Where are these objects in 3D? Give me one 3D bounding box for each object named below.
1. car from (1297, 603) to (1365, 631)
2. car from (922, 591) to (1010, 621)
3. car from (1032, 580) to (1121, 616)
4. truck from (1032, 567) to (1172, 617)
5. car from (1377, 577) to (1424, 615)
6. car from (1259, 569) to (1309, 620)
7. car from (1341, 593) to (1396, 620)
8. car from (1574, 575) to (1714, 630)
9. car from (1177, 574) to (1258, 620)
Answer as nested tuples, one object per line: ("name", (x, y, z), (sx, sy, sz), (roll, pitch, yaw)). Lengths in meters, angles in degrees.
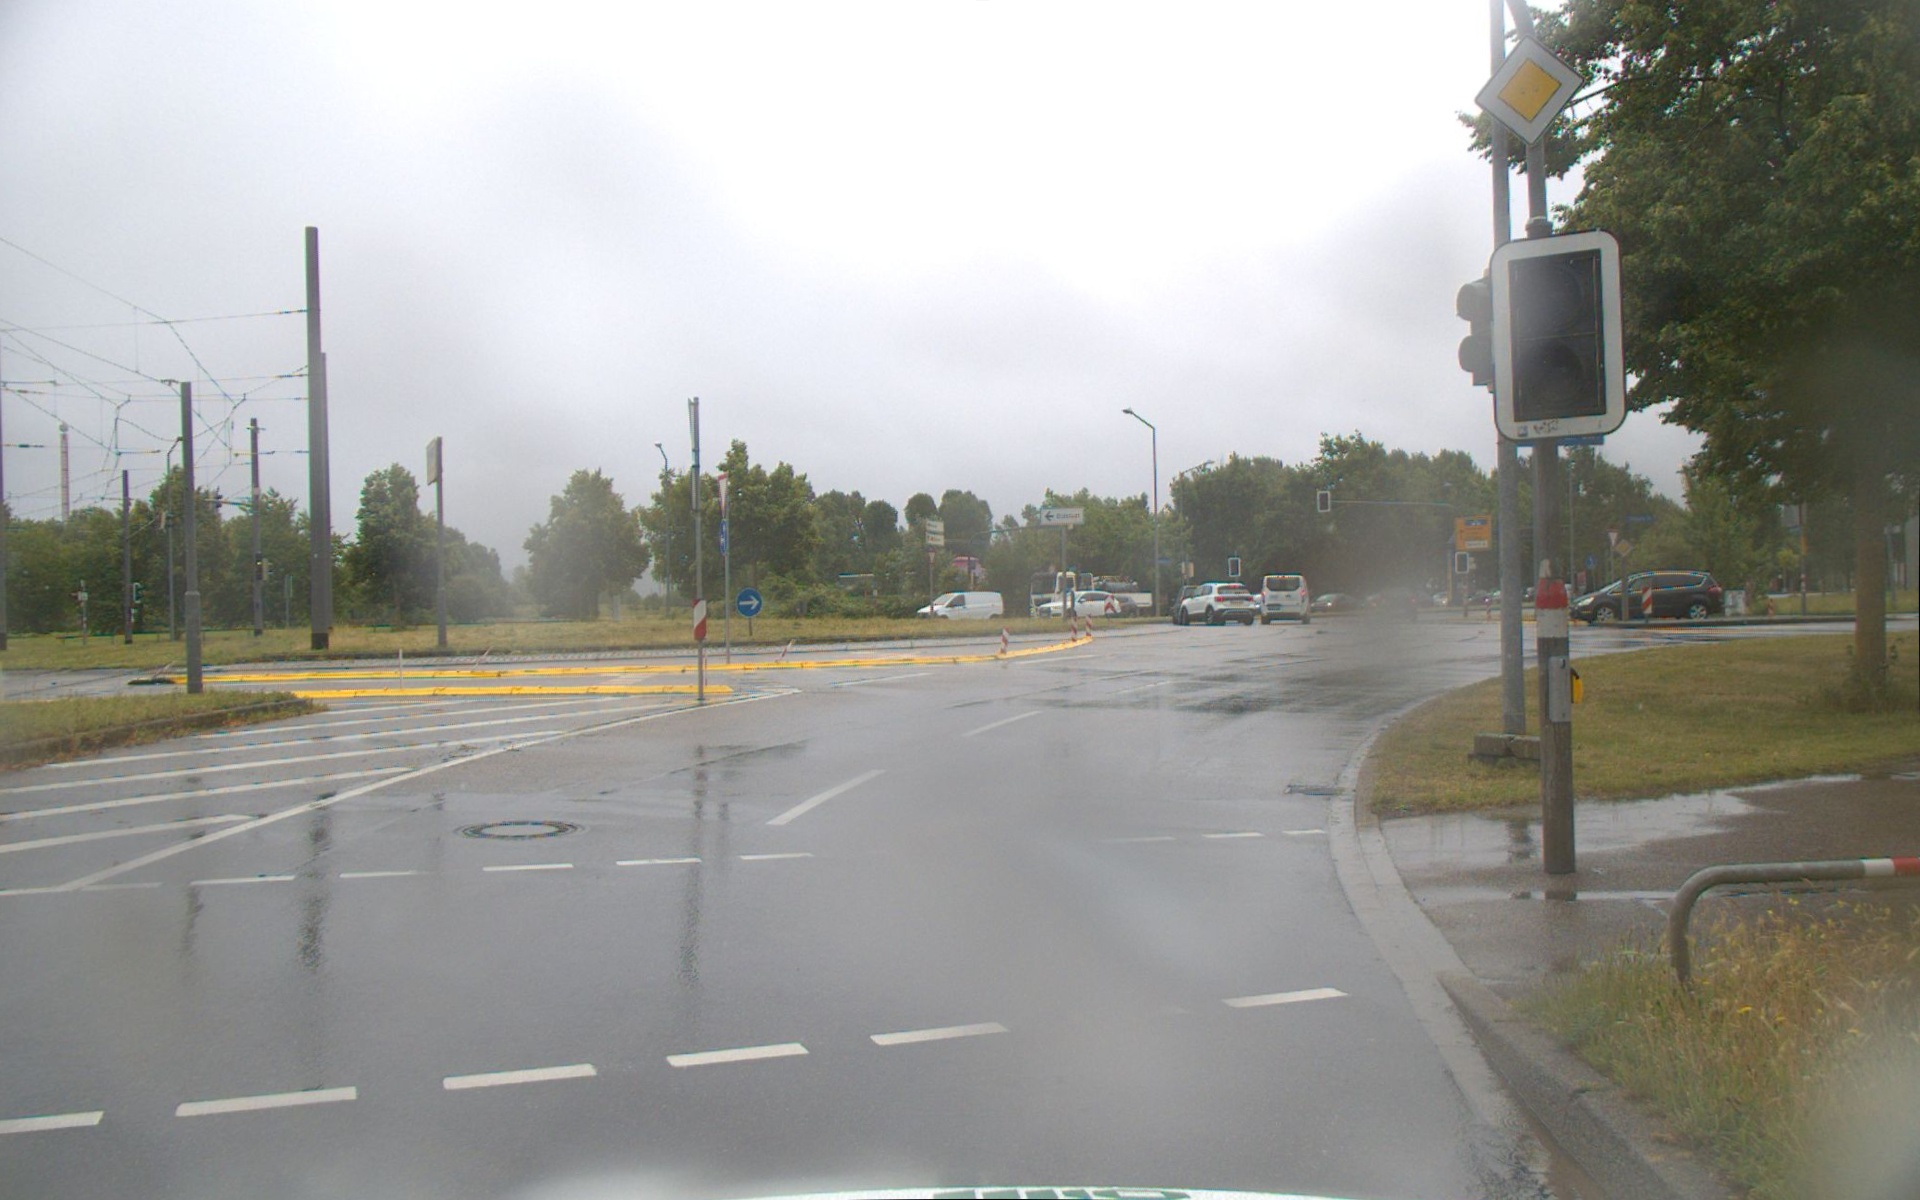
("car", (24.052, 1.099, 107.166), (4.821, 1.774, 1.752), (1, 0, -41))
("car", (0.352, 0.324, 86.848), (4.492, 1.518, 1.593), (1, 0, -33))
("car", (6.081, -0.105, 86.132), (4.821, 1.774, 1.752), (1, 0, -41))
("truck", (8.352, -0.442, 96.549), (8.680, 2.759, 1.979), (1, -1, -31))
("car", (18.129, -0.181, 68.154), (1.652, 1.518, 3.254), (-1, 0, 11))
("car", (13.826, -0.226, 70.435), (1.745, 2.072, 4.003), (1, 0, 15))
("car", (27.816, 0.427, 112.531), (1.965, 1.780, 3.975), (1, 0, 42))
("car", (21.983, 0.070, 53.286), (3.902, 1.676, 1.790), (1, 0, 13))
("car", (9.813, -0.096, 63.272), (1.652, 1.676, 3.932), (1, 0, -14))
